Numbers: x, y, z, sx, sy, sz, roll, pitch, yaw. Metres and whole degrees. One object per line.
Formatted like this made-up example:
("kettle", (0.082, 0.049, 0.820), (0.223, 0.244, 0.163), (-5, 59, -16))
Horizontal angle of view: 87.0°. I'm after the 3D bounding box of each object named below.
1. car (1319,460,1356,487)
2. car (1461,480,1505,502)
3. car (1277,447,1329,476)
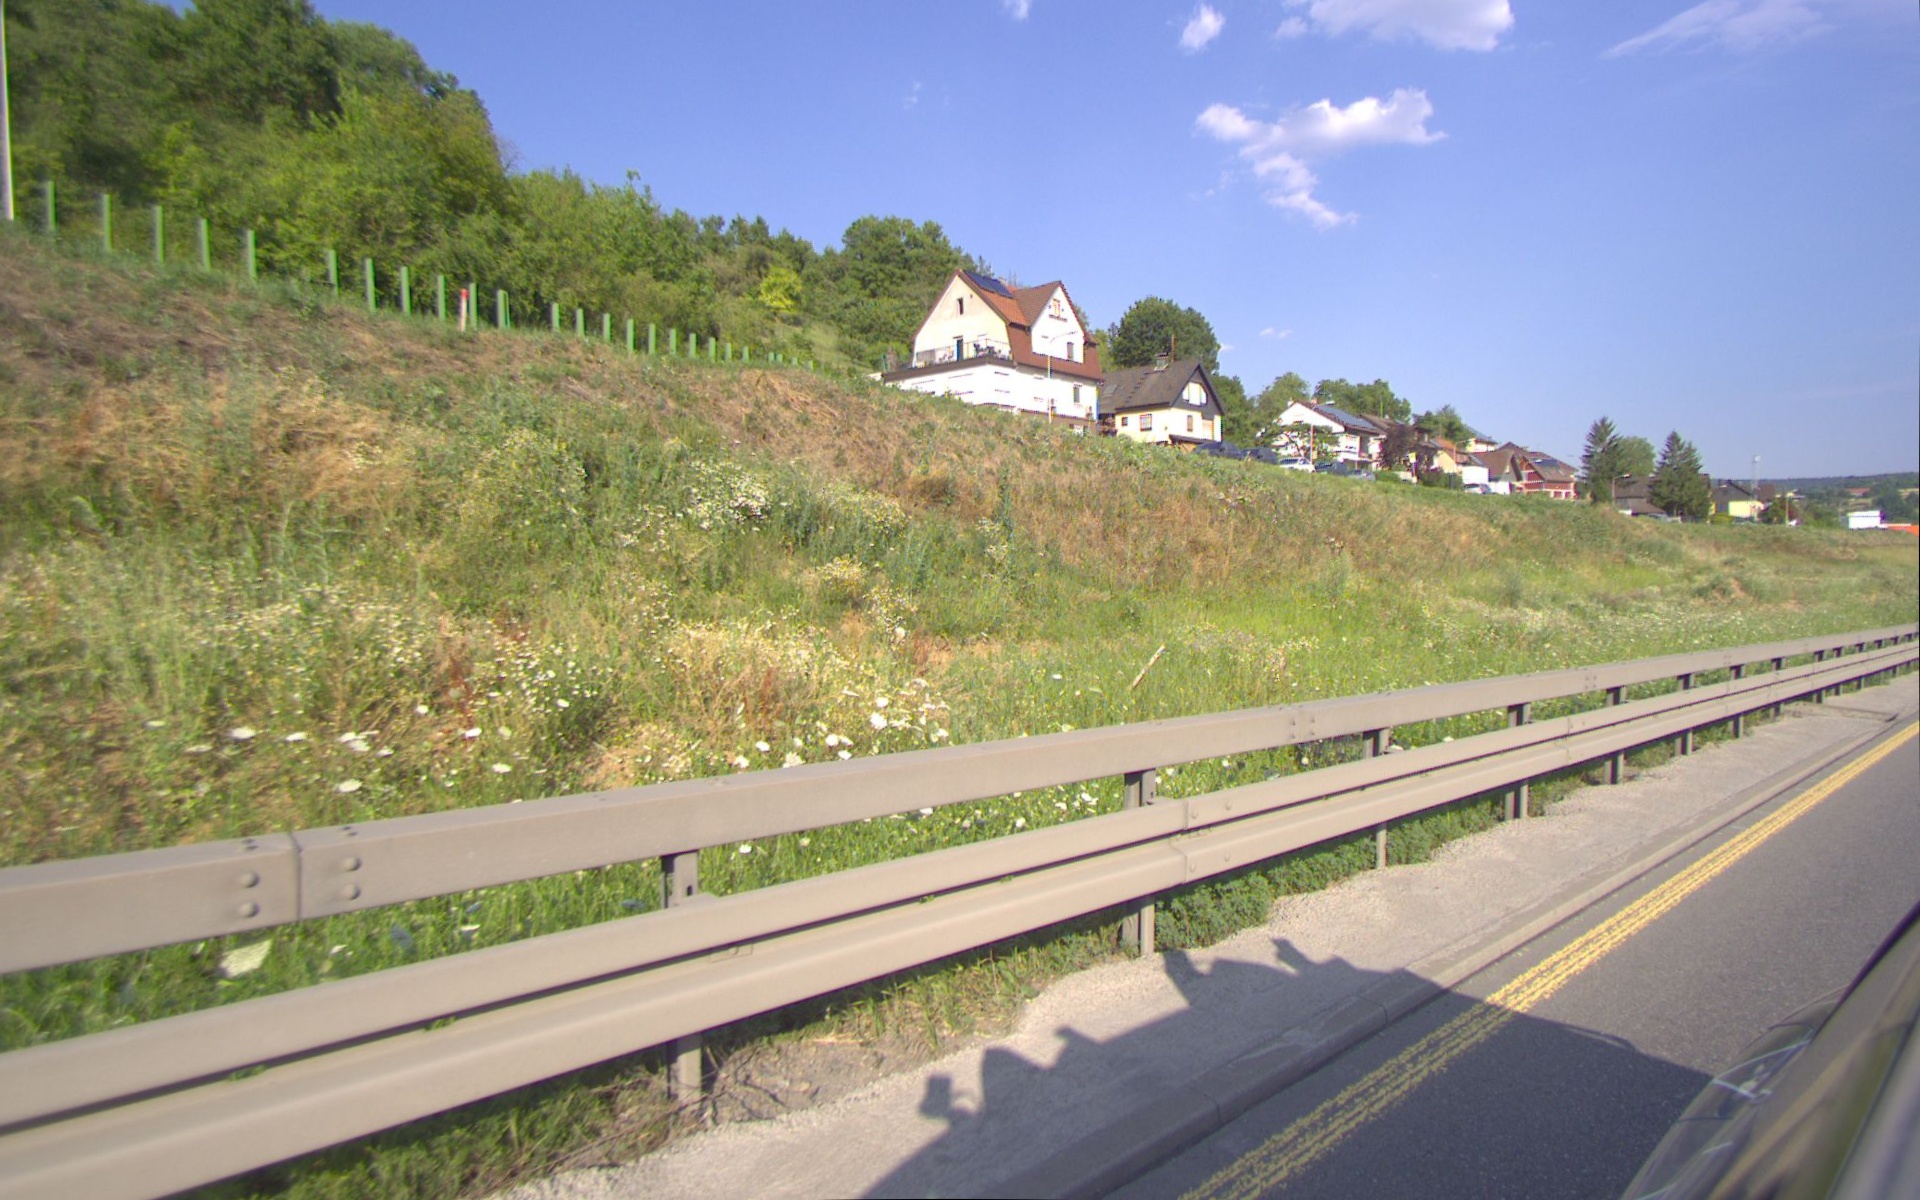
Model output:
("car", (23.956, -8.021, 64.194), (1.340, 1.339, 3.299), (0, 1, 37))
("car", (43.167, -8.955, 83.512), (3.931, 1.460, 1.997), (-1, 1, -41))
("car", (20.354, -8.189, 60.019), (3.837, 1.248, 1.344), (-2, 1, -45))
